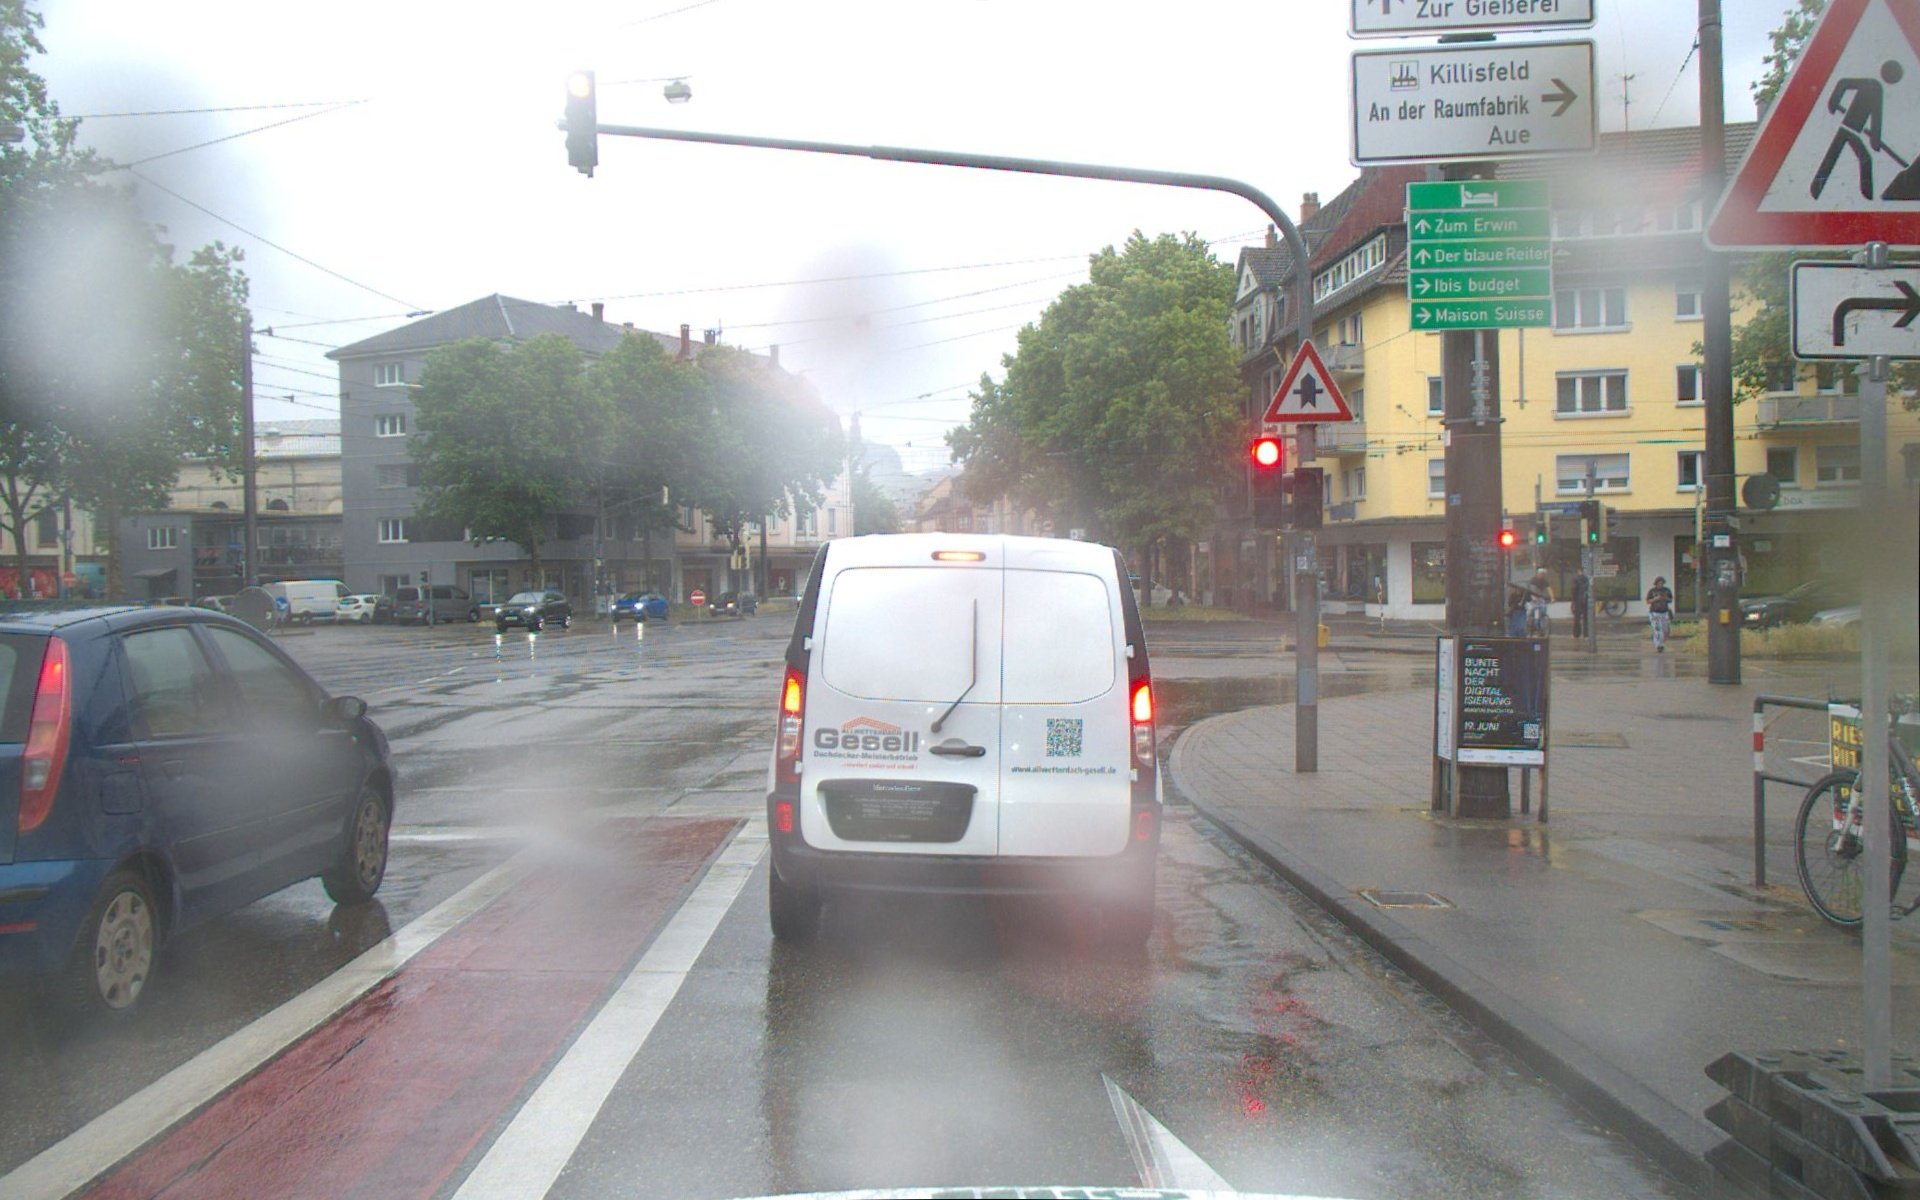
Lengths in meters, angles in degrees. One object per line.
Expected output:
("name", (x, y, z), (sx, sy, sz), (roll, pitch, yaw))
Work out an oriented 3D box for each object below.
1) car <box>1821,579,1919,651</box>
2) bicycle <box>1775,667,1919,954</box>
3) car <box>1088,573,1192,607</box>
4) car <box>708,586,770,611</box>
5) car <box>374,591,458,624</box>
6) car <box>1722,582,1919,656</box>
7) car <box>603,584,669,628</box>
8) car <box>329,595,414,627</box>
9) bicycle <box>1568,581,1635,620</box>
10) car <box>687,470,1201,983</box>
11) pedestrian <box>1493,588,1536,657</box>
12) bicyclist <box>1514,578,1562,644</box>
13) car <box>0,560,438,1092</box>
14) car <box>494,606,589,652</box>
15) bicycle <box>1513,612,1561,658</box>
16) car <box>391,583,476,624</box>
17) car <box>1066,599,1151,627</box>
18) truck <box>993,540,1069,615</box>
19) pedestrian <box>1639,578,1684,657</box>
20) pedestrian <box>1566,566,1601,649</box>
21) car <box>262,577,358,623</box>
("car", (21.051, 0.314, 35.920), (3.854, 1.516, 1.808), (0, 1, 15))
("bicycle", (4.252, 0.913, 7.083), (0.503, 1.126, 2.017), (3, 0, 1))
("car", (7.486, -0.421, 69.060), (4.088, 1.362, 1.518), (0, 1, -8))
("car", (-12.080, -0.085, 90.724), (1.909, 1.260, 4.003), (0, 2, 16))
("car", (-28.387, 0.367, 86.395), (1.954, 1.556, 3.997), (0, 2, 26))
("car", (20.858, 0.464, 39.076), (4.832, 1.672, 2.001), (0, -2, 11))
("car", (-15.501, 0.278, 79.385), (1.951, 2.049, 4.003), (0, 0, 7))
("car", (-30.982, 0.564, 87.163), (1.915, 1.522, 3.997), (0, 2, 26))
("bicycle", (21.549, 0.006, 55.593), (2.056, 1.283, 0.532), (0, 1, 14))
("car", (-0.097, 0.510, 9.123), (2.058, 2.047, 4.962), (0, 0, -1))
("pedestrian", (12.703, 0.511, 37.894), (0.809, 1.561, 0.614), (1, 0, -39))
("bicyclist", (14.158, 0.264, 40.546), (0.861, 1.611, 0.860), (0, 0, -3))
("car", (-3.609, 0.674, 6.891), (1.692, 1.606, 3.820), (0, 0, -1))
("car", (-16.731, 1.124, 66.305), (1.909, 1.635, 4.003), (0, 2, 16))
("bicycle", (14.159, 0.838, 40.610), (0.449, 1.045, 1.901), (0, 1, -2))
("car", (-26.803, 0.184, 84.293), (1.954, 2.049, 3.996), (0, 0, 26))
("car", (6.352, 0.548, 70.914), (3.378, 1.150, 1.469), (0, 0, -9))
("truck", (5.382, -1.578, 121.480), (3.395, 5.176, 15.320), (0, 0, 11))
("pedestrian", (15.285, 0.369, 36.036), (0.886, 1.698, 1.019), (0, 0, 24))
("pedestrian", (15.602, 0.191, 41.382), (0.779, 2.049, 0.860), (0, 0, 24))
("car", (-34.143, -0.041, 86.964), (1.953, 2.236, 4.787), (1, 2, 22))
